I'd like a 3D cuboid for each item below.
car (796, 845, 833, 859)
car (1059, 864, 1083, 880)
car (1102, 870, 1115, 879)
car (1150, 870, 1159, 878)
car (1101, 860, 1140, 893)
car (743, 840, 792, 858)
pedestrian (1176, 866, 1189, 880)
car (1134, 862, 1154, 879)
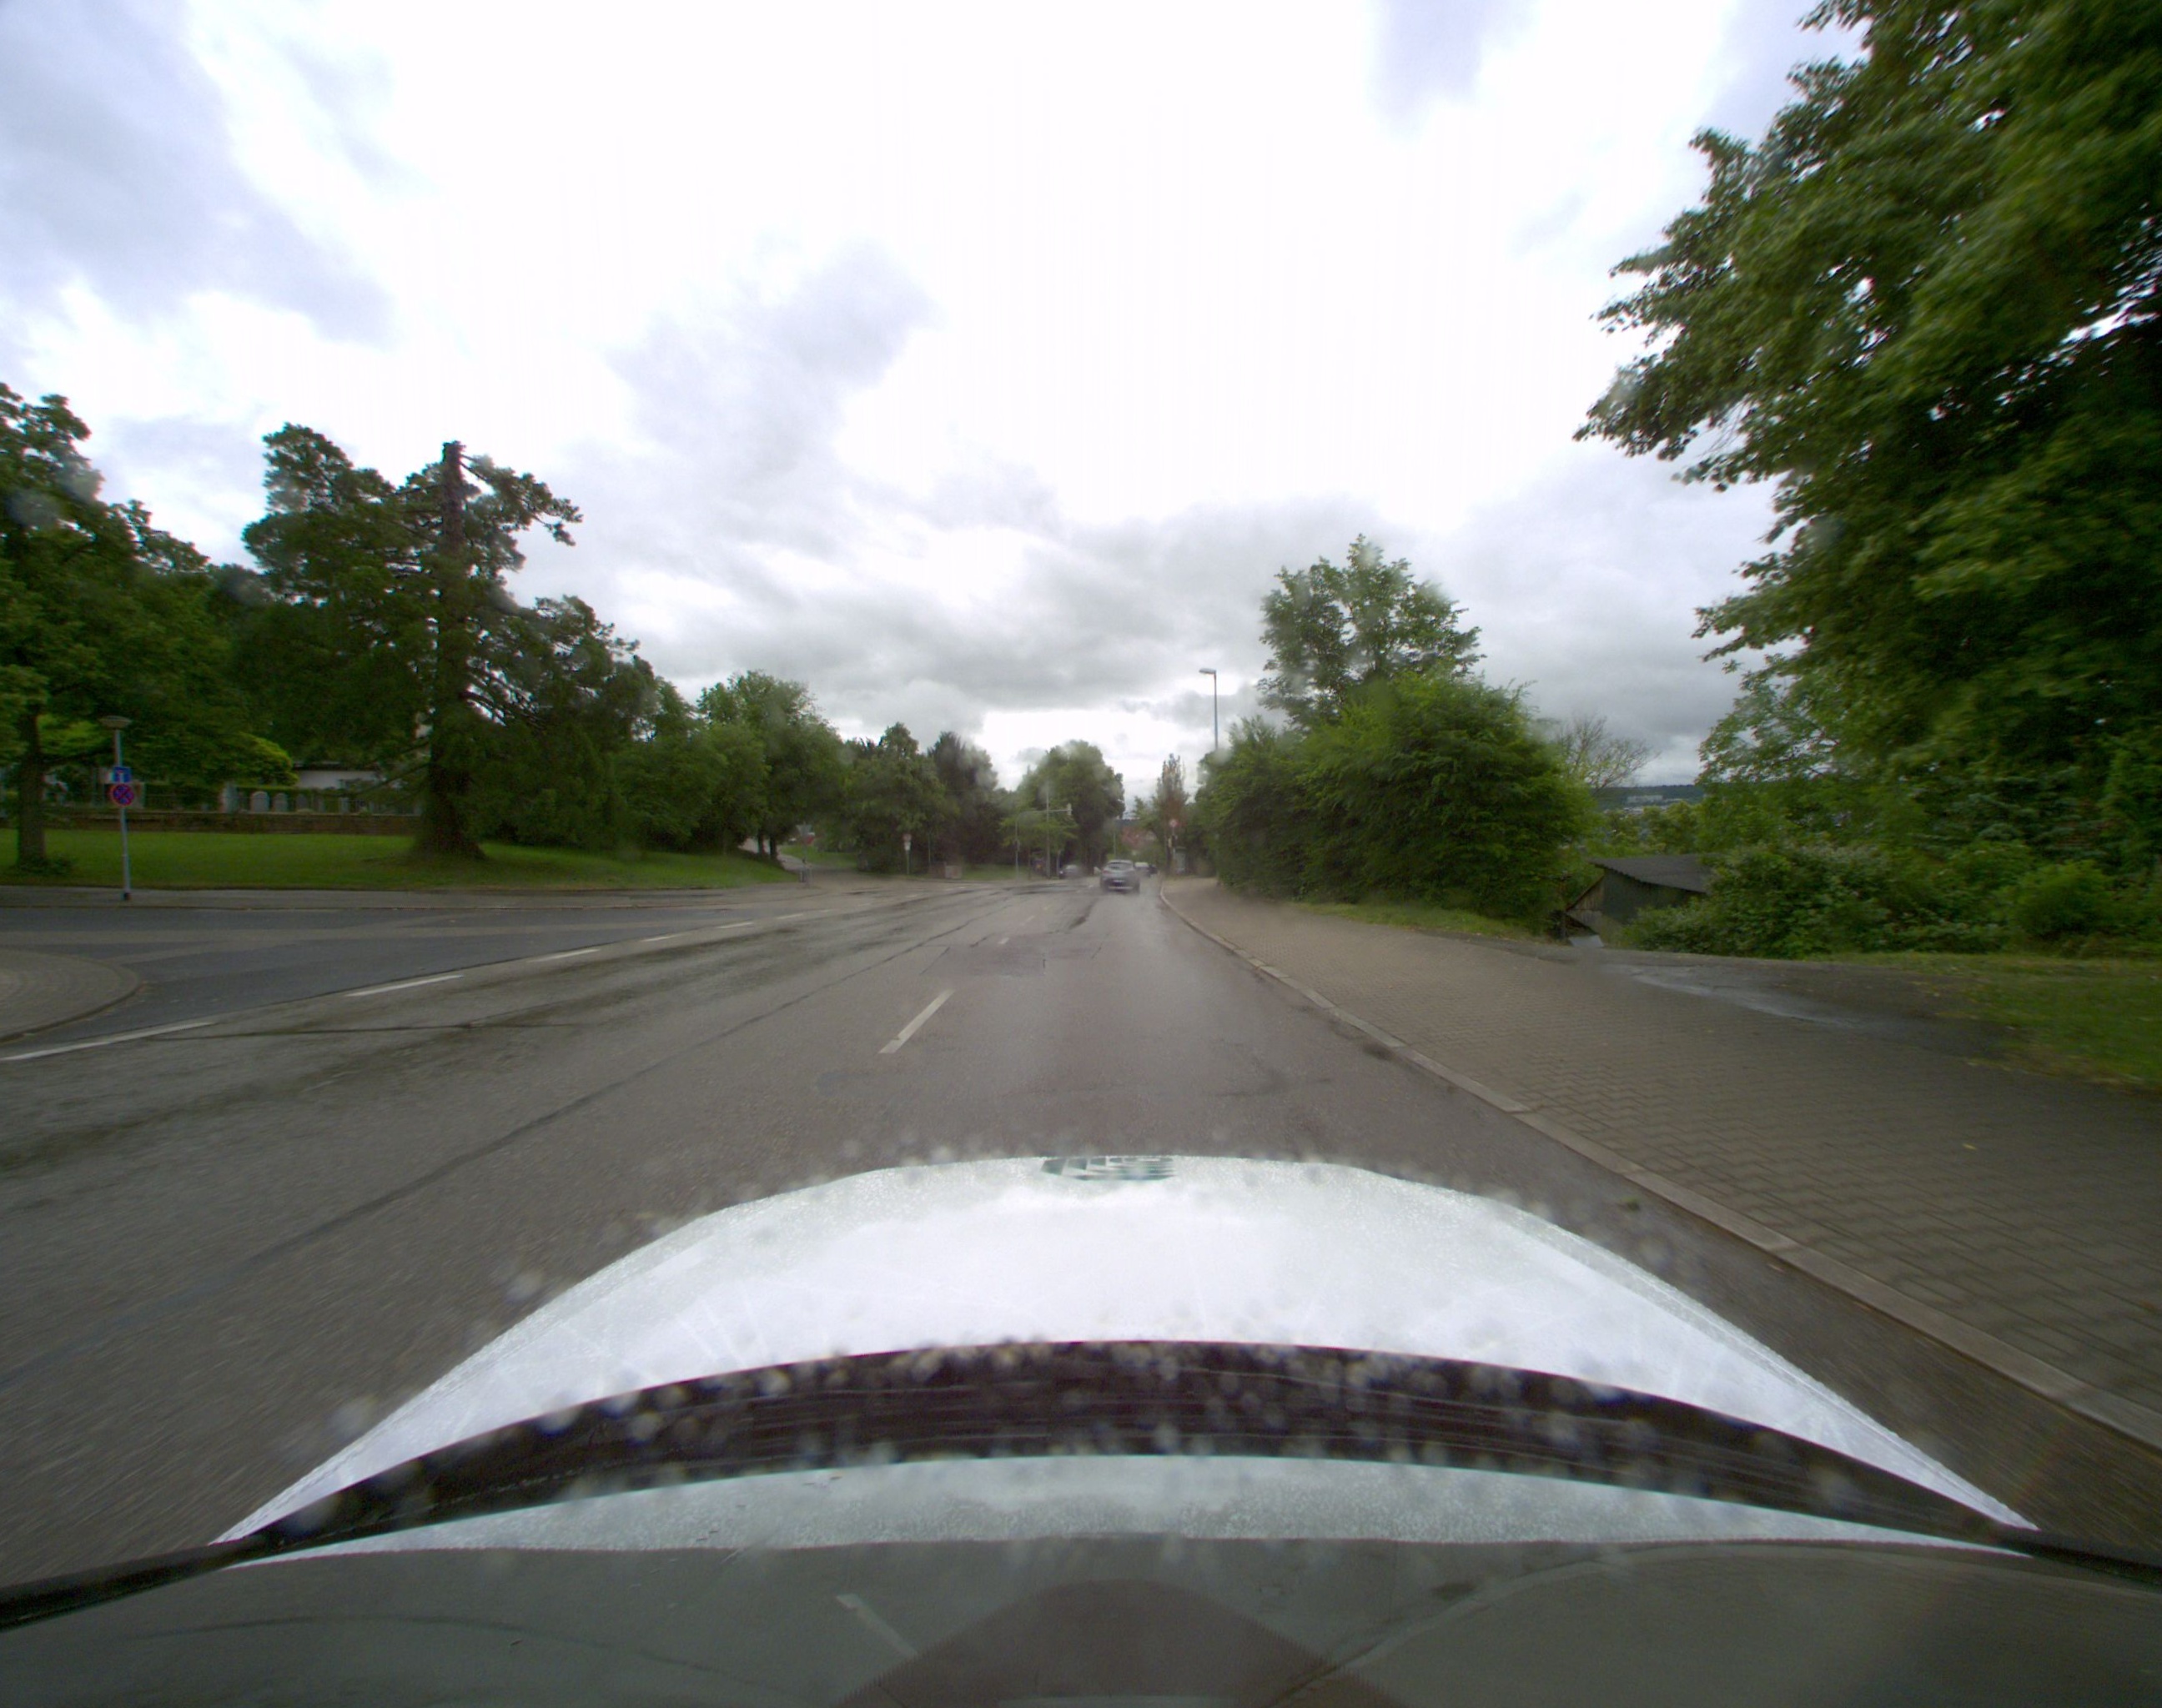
[{"bbox_3d":[-29.892,-0.191,91.456,3.905,1.486,1.924,1,-1,-17],"label":"car"},{"bbox_3d":[-0.873,1.582,73.529,1.652,1.306,4.090,-2,0,6],"label":"car"},{"bbox_3d":[4.200,3.139,124.730,1.713,1.399,4.006,2,-1,6],"label":"car"},{"bbox_3d":[14.355,3.964,159.912,1.713,1.464,4.005,2,-1,5],"label":"car"},{"bbox_3d":[1.978,1.080,39.800,1.746,1.464,4.005,2,0,5],"label":"car"},{"bbox_3d":[-27.659,-0.422,72.037,3.905,1.486,1.924,1,-1,-17],"label":"car"},{"bbox_3d":[9.980,1.848,80.087,1.066,1.356,0.921,-2,-2,12],"label":"pedestrian"},{"bbox_3d":[5.980,1.538,77.119,1.713,1.464,4.005,2,-1,5],"label":"car"}]
